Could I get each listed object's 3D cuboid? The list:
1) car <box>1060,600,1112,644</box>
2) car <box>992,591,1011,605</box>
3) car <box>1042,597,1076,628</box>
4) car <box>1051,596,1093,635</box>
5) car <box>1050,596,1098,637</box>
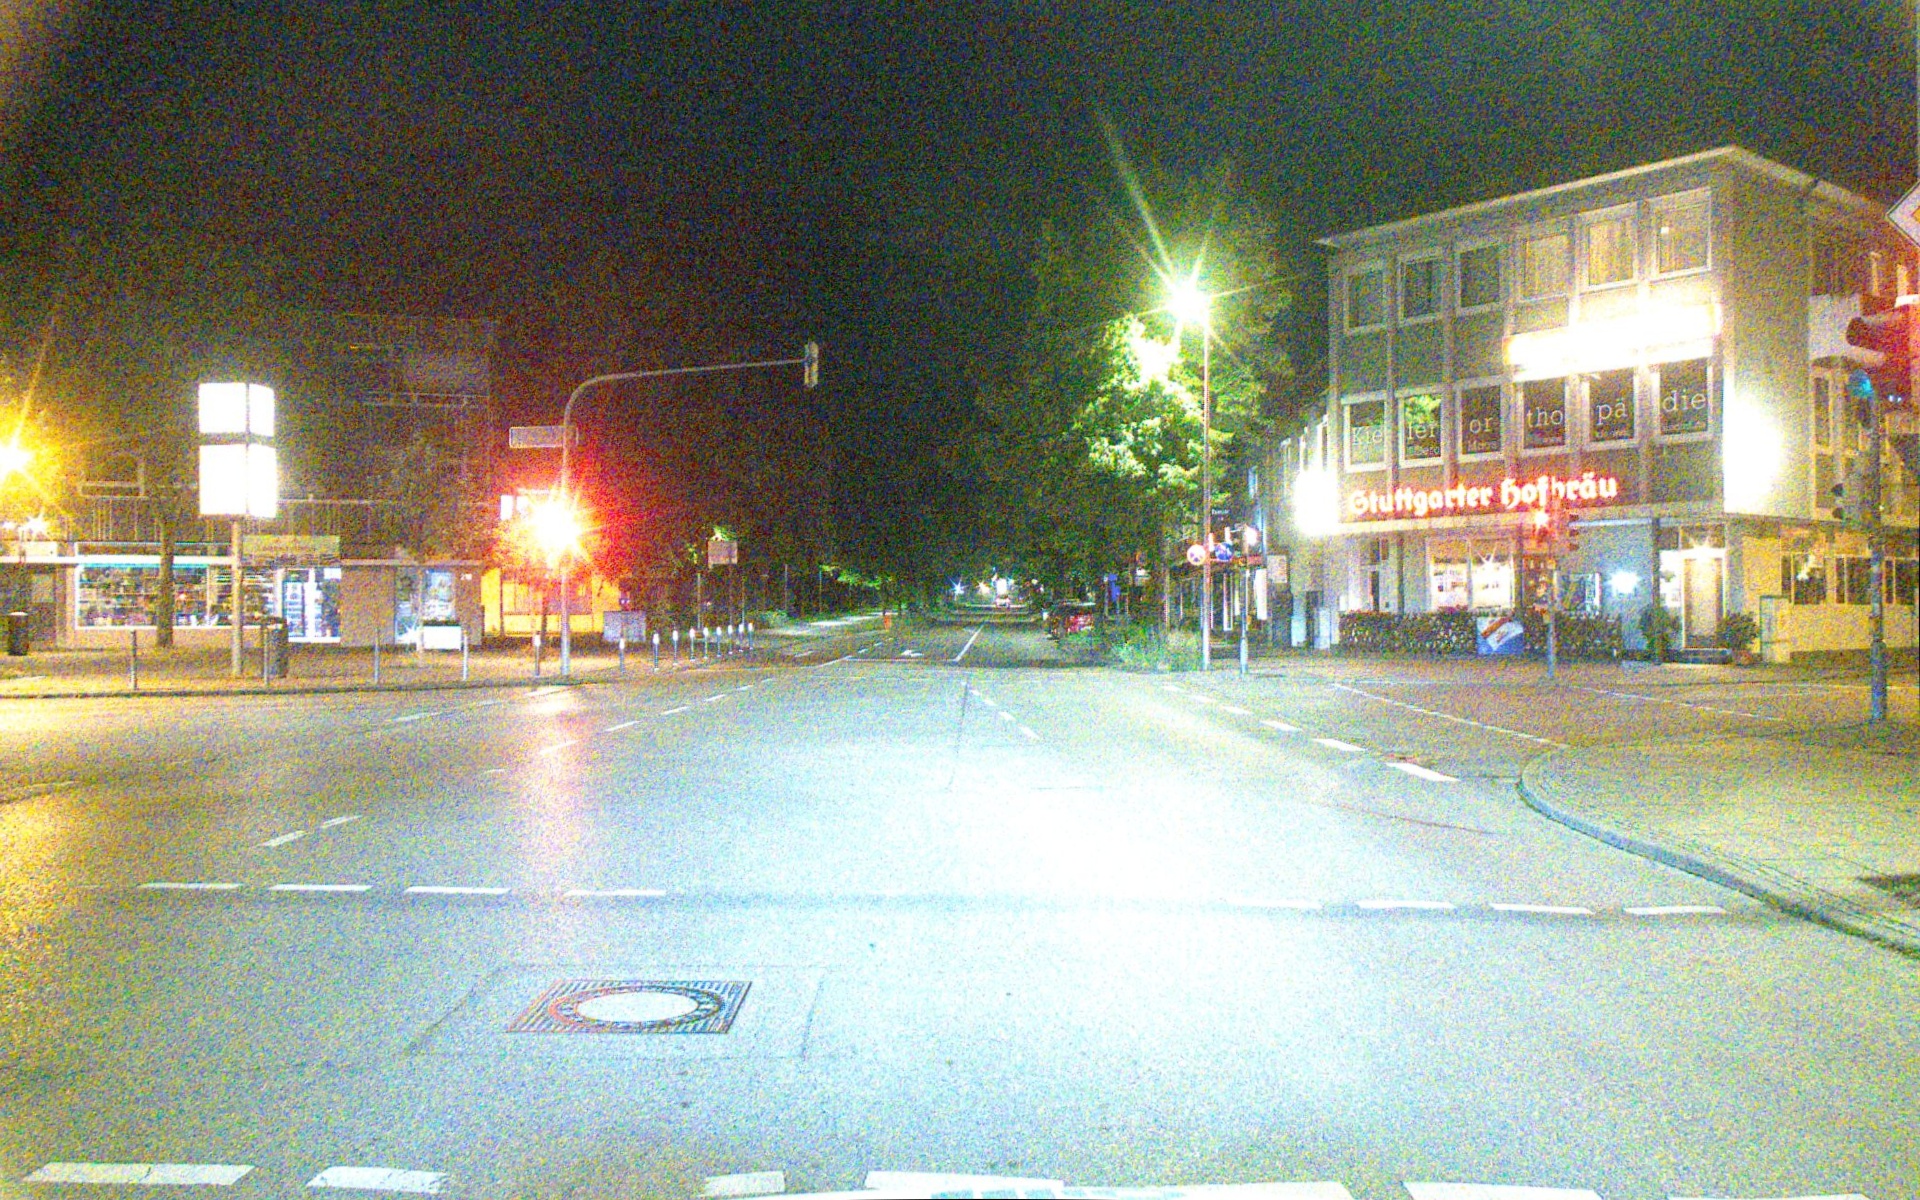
[{"bbox_3d":[4.816,0.834,63.612,1.837,1.643,4.001,0,0,2],"label":"car"},{"bbox_3d":[4.840,-0.223,192.150,2.181,1.680,4.000,0,0,1],"label":"car"},{"bbox_3d":[5.655,0.713,94.601,1.837,1.713,4.001,0,0,2],"label":"car"},{"bbox_3d":[5.153,0.714,76.526,1.837,1.759,4.001,0,0,2],"label":"car"},{"bbox_3d":[4.729,0.684,68.850,1.837,1.643,4.001,0,0,2],"label":"car"}]
